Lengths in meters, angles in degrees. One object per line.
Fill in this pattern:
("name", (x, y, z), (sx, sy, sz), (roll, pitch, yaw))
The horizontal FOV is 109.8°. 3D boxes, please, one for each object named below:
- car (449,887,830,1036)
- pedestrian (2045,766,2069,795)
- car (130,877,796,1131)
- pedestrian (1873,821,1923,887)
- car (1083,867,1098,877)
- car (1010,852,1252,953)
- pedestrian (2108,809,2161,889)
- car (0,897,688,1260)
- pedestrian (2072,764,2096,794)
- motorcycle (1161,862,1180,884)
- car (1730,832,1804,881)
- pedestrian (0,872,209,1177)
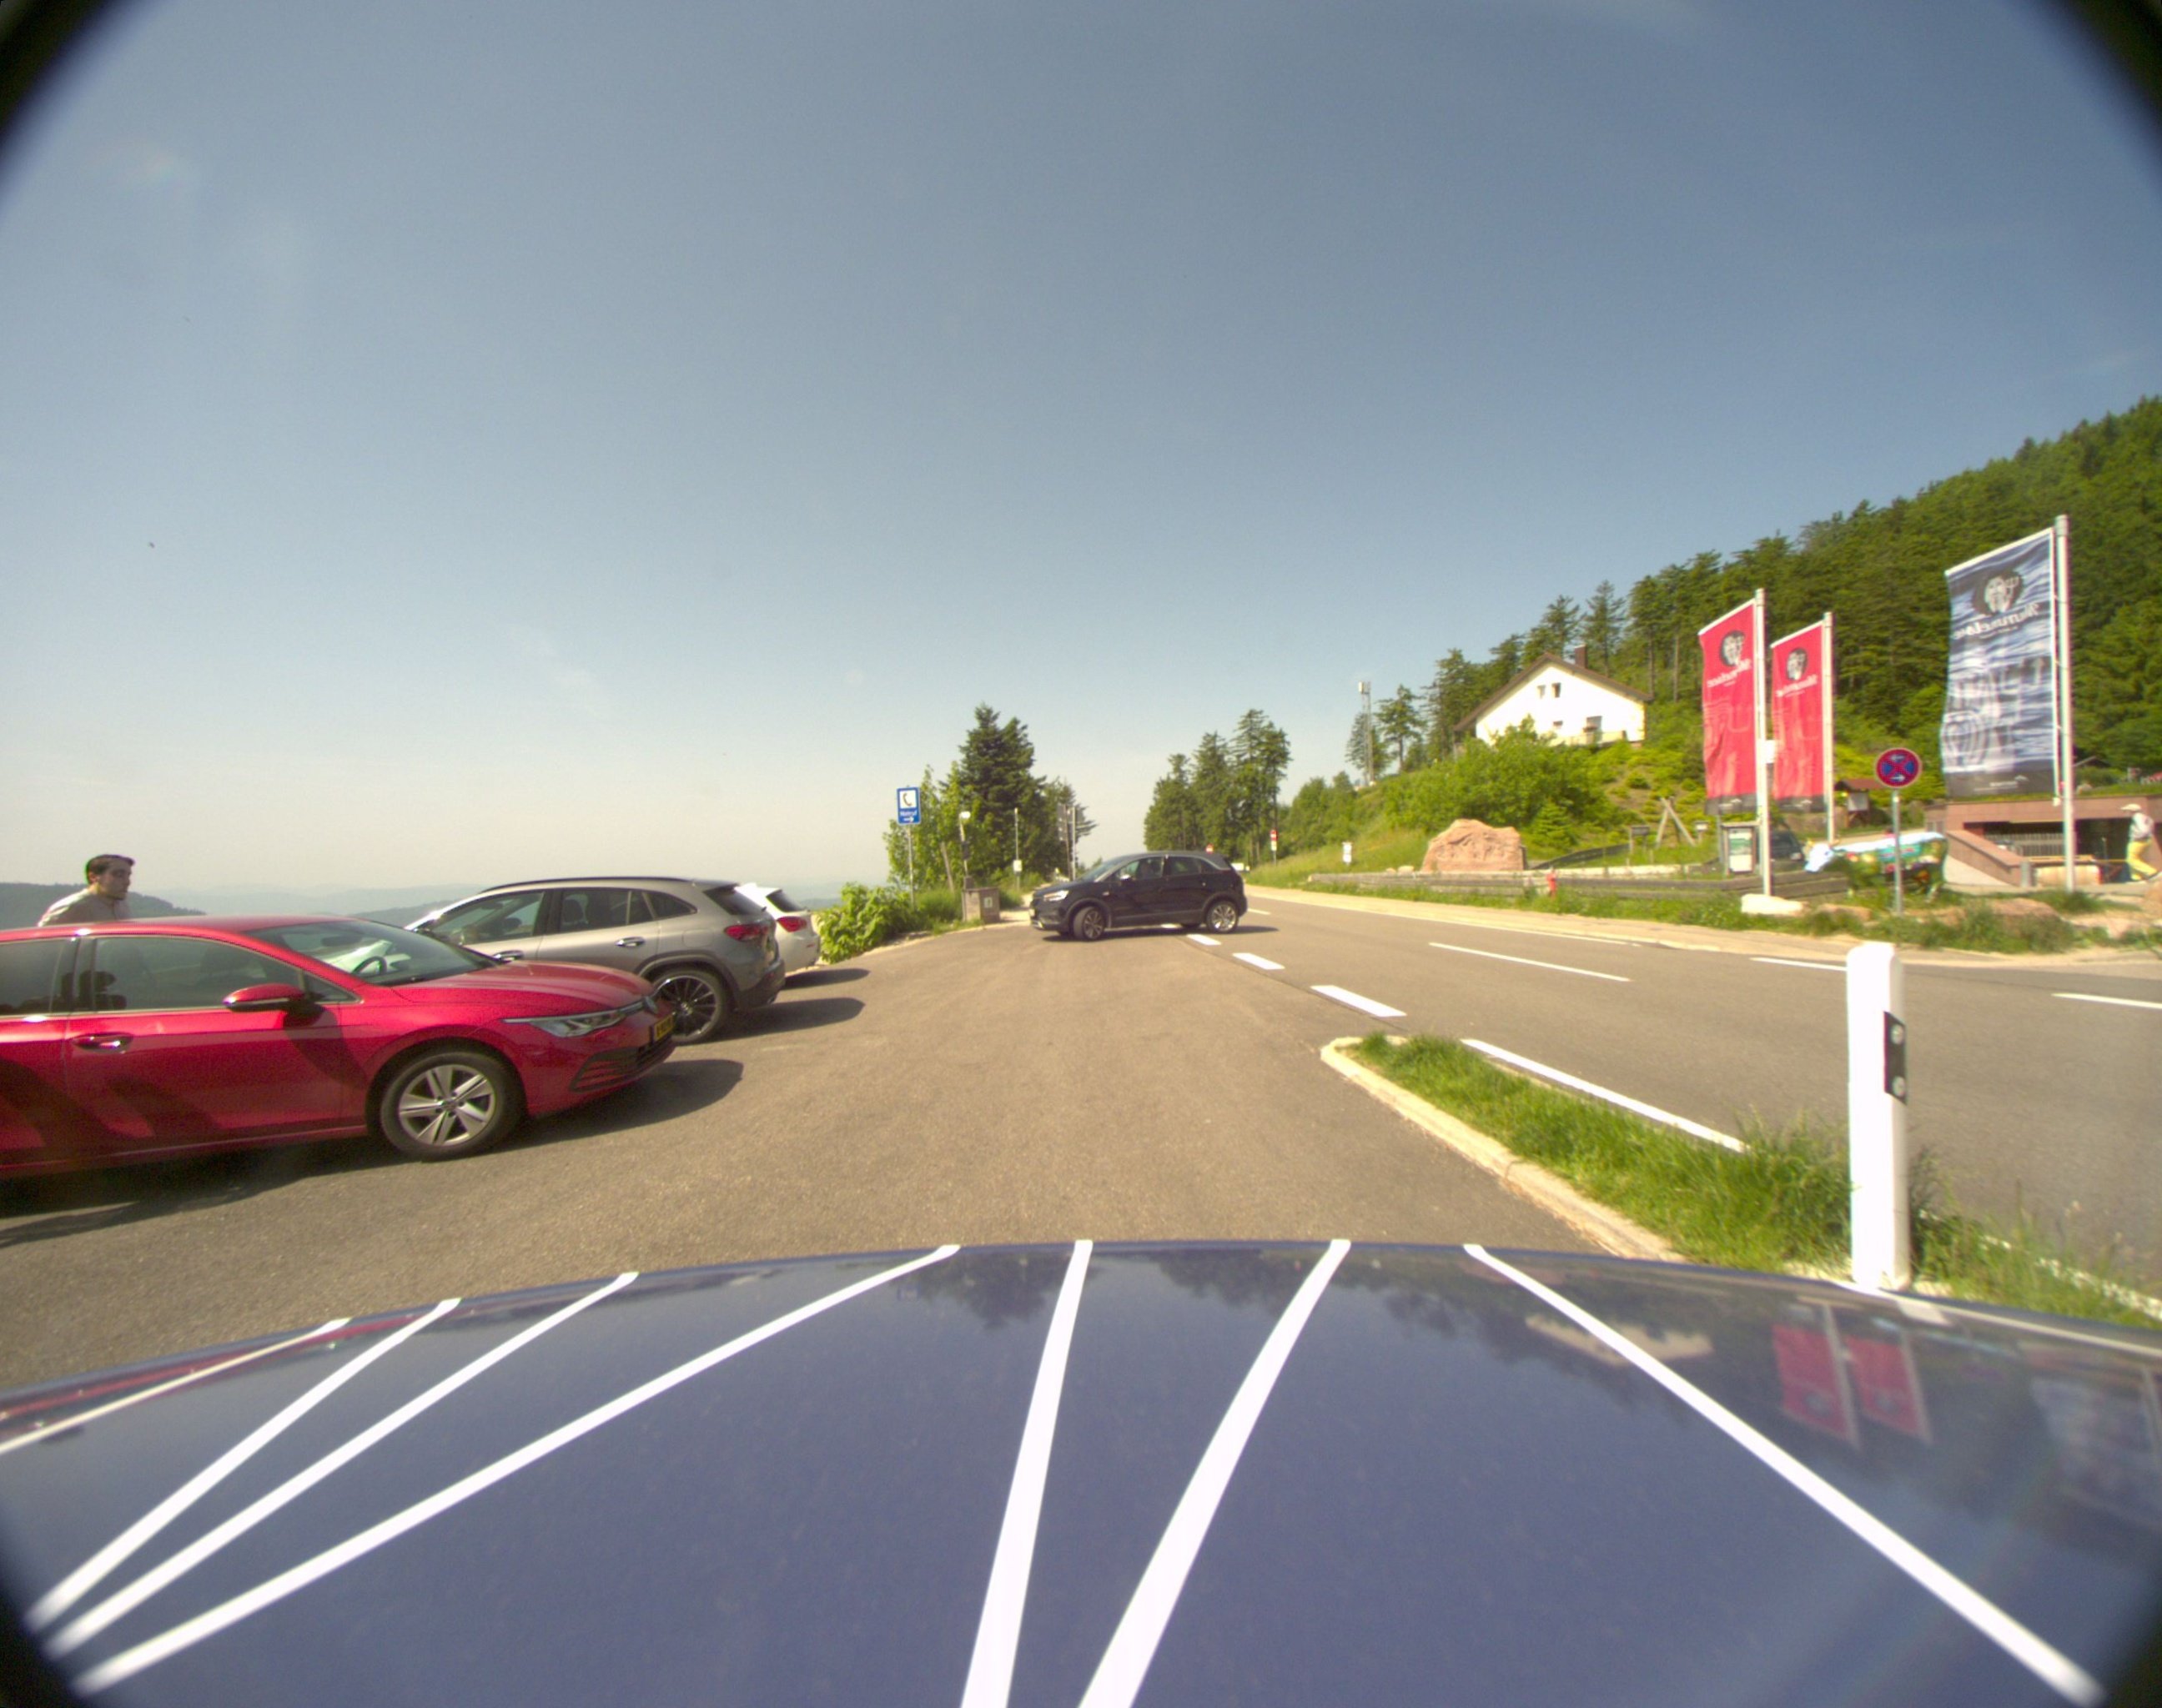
("car", (-5.549, 1.303, 10.119), (4.002, 1.377, 1.655), (-4, 1, -15))
("pedestrian", (54.487, -4.115, 42.434), (0.572, 1.533, 0.633), (-9, 0, 43))
("car", (-5.180, 1.165, 7.204), (4.413, 1.559, 1.905), (-4, 0, -16))
("pedestrian", (21.674, -0.006, 20.178), (0.697, 1.706, 0.800), (-1, 0, 30))
("car", (1.542, 2.918, 121.515), (1.998, 1.586, 4.002), (0, -1, 4))
("car", (0.886, 0.835, 14.523), (4.151, 1.607, 1.984), (-2, 1, -14))
("pedestrian", (22.716, -0.102, 16.311), (0.574, 1.679, 0.654), (-1, 1, 30))
("car", (-4.841, 1.156, 4.605), (4.002, 1.501, 1.840), (-3, 0, -15))
("pedestrian", (54.837, -4.088, 41.548), (0.572, 1.533, 0.633), (-9, 0, 43))
("motorcycle", (5.467, 1.141, 46.523), (0.813, 1.258, 2.326), (0, 0, -3))
("car", (25.222, 0.052, 27.897), (1.874, 1.347, 4.005), (0, 6, 44))
("pedestrian", (-6.757, 1.101, 5.204), (0.610, 1.889, 0.678), (-4, 1, -7))
